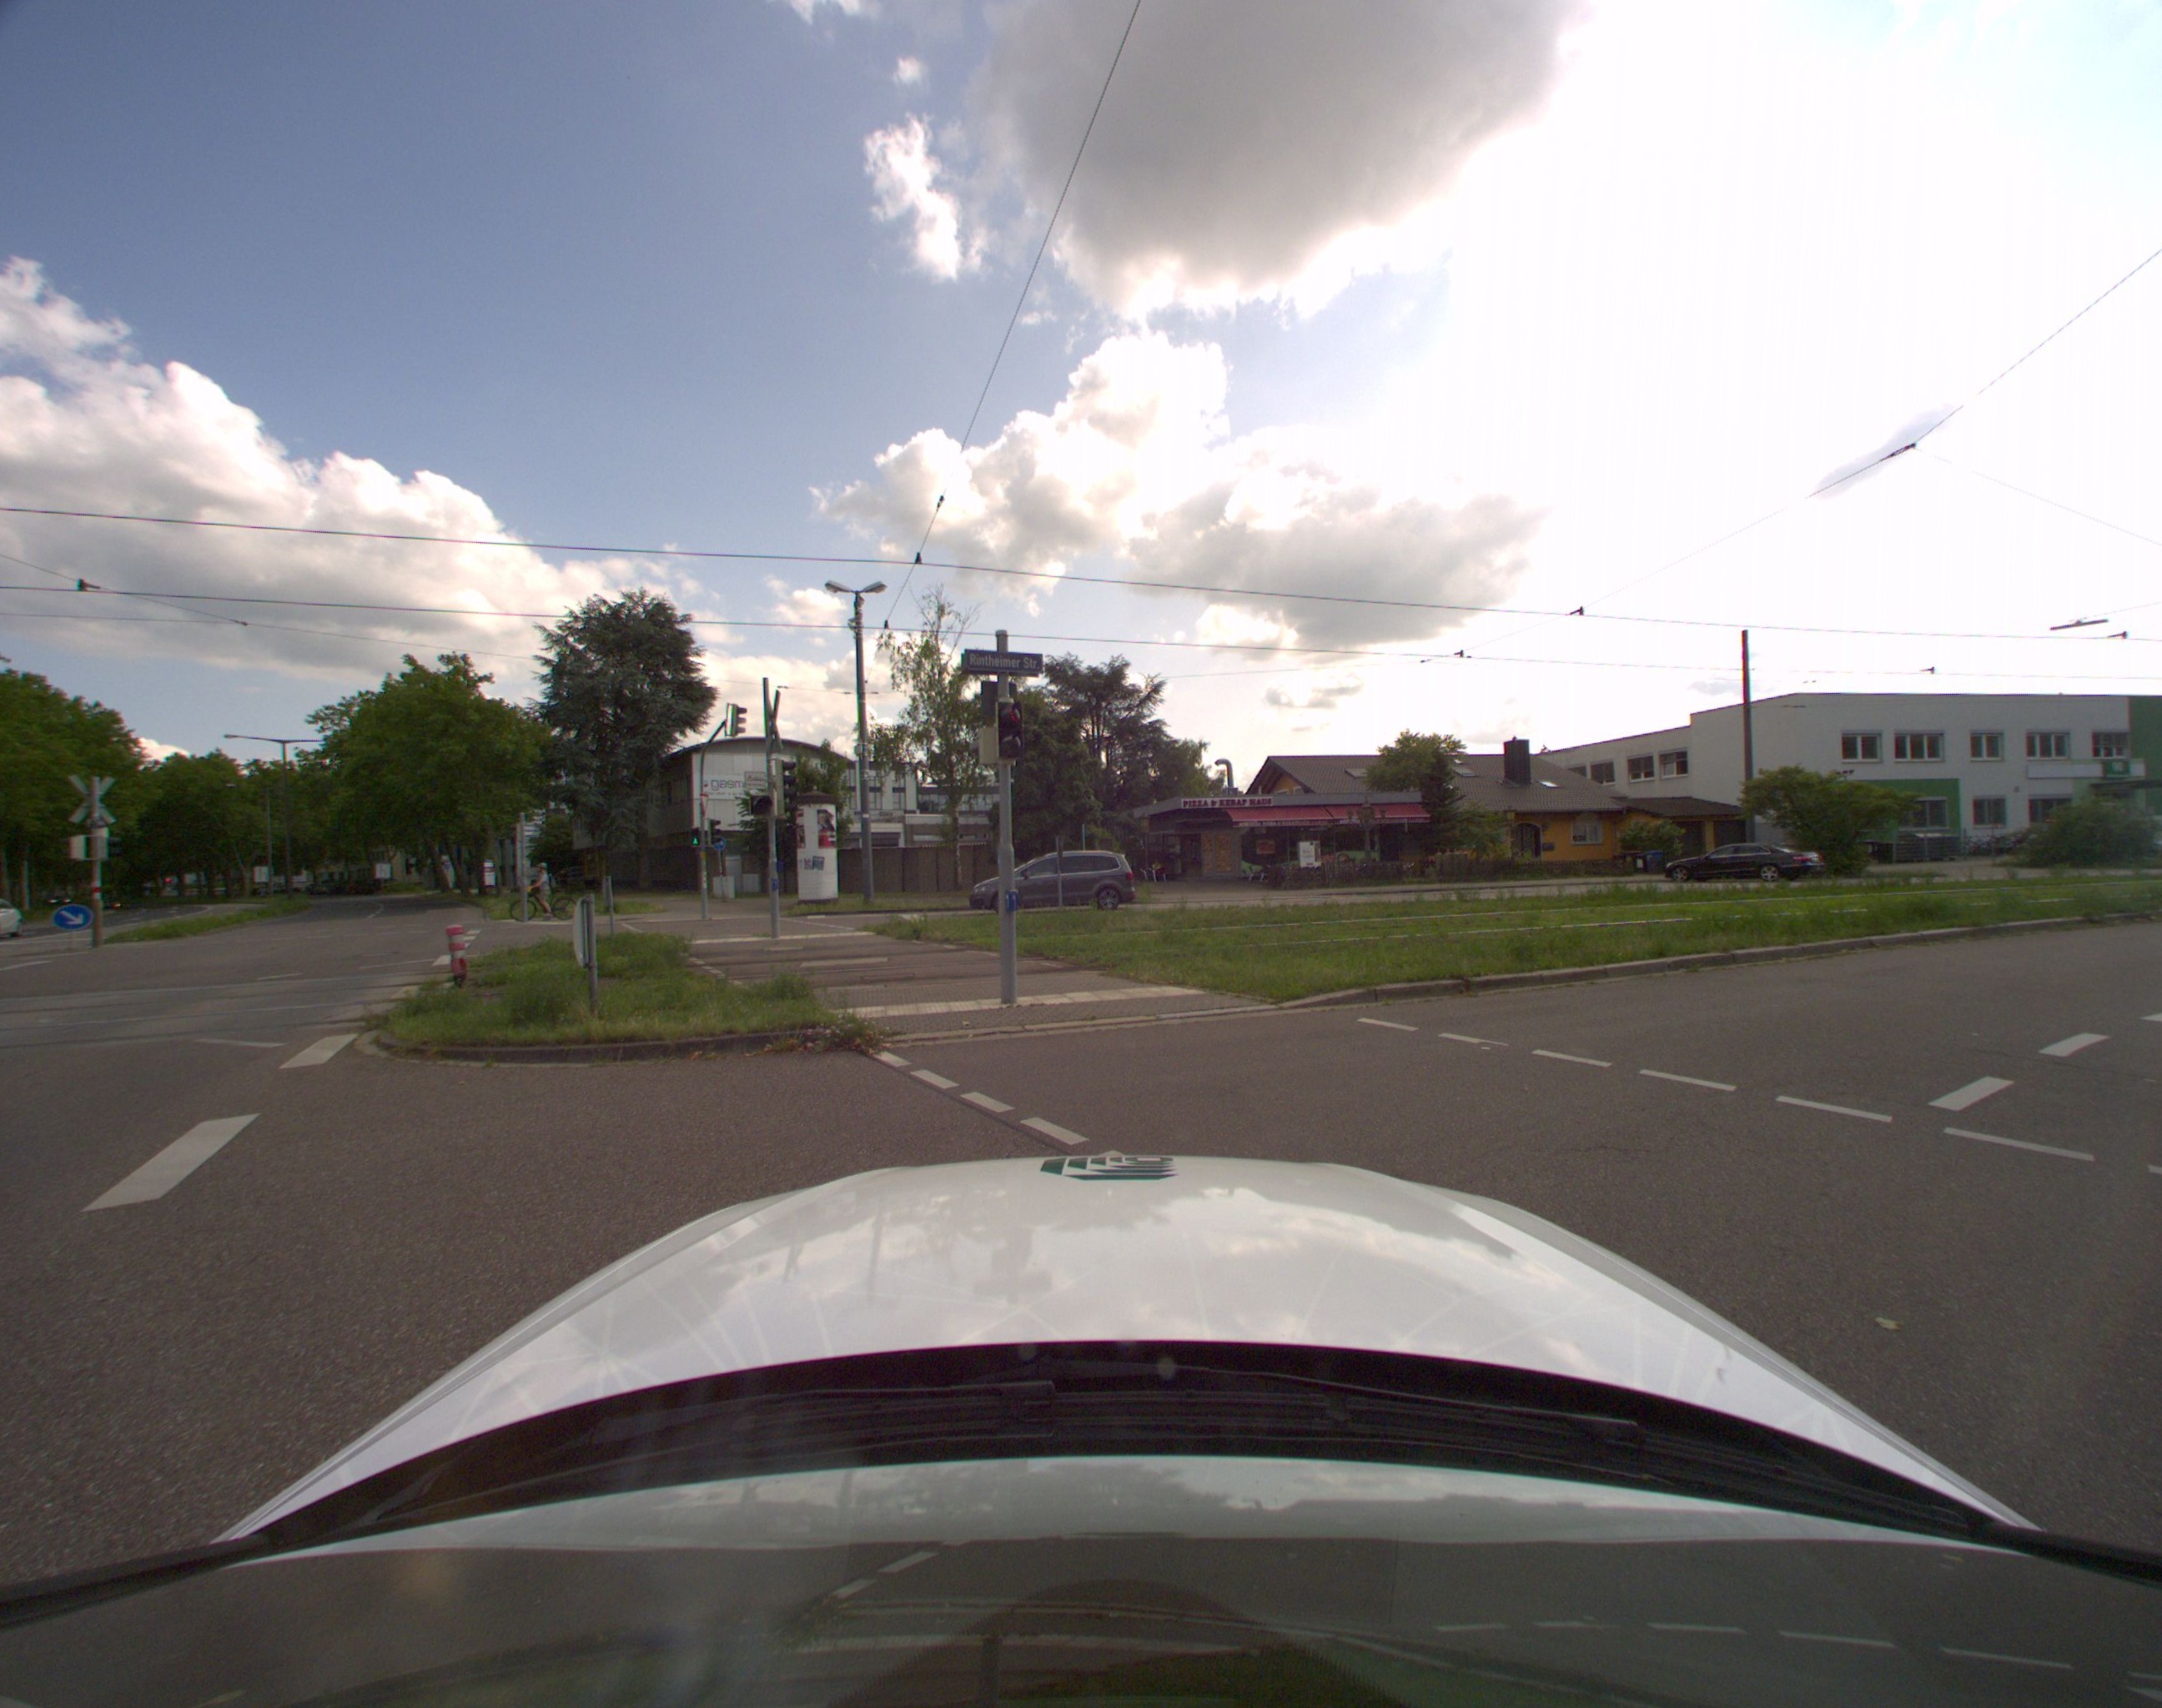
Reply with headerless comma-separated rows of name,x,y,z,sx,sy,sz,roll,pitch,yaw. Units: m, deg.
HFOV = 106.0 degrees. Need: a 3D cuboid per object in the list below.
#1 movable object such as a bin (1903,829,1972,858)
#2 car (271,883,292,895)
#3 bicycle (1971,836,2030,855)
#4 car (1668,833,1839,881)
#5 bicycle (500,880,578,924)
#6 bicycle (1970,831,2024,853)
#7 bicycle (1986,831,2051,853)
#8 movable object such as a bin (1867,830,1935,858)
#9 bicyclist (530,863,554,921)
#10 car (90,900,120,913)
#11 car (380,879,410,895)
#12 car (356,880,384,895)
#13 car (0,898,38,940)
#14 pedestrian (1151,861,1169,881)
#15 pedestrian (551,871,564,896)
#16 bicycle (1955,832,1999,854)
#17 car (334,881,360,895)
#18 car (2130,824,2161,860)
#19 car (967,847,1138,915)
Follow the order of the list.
movable object such as a bin,43.076,-0.518,40.986,2.122,1.326,1.373,-2,-1,-6
car,-124.978,5.440,127.258,3.949,1.574,2.013,0,2,41
bicycle,50.870,-0.450,45.079,0.727,0.970,2.155,-2,0,-5
car,25.269,0.161,30.793,2.006,1.580,4.536,-2,-1,-29
bicycle,-17.106,1.496,25.757,1.957,1.235,0.536,-2,1,-28
bicycle,48.630,-0.632,43.259,0.734,1.081,1.790,-2,0,-12
bicycle,51.795,-0.660,45.013,0.756,1.166,2.348,-2,0,-4
movable object such as a bin,40.919,-0.477,40.662,2.108,1.326,1.373,-2,-1,-6
bicyclist,-17.058,1.191,25.779,0.546,1.809,0.536,-1,1,-28
car,-100.131,5.370,83.555,3.660,1.192,1.650,-2,-1,34
car,-77.148,3.699,91.573,3.949,1.574,2.013,0,2,41
car,-86.349,4.007,98.850,3.949,1.574,2.013,0,2,41
car,-38.368,2.292,28.211,1.840,1.364,4.090,-2,-1,-39
pedestrian,3.805,0.826,39.390,0.723,0.929,0.776,-1,1,-5
pedestrian,-33.826,1.919,52.618,0.625,1.569,0.553,-2,1,-38
bicycle,49.350,-0.589,44.876,0.700,1.166,1.624,-2,0,7
car,-93.290,4.312,103.500,3.949,1.574,2.013,0,2,41
car,50.742,-0.615,36.549,1.913,1.629,4.262,-1,-1,-43
car,-0.891,0.749,23.634,4.724,1.722,1.994,-2,0,-9
